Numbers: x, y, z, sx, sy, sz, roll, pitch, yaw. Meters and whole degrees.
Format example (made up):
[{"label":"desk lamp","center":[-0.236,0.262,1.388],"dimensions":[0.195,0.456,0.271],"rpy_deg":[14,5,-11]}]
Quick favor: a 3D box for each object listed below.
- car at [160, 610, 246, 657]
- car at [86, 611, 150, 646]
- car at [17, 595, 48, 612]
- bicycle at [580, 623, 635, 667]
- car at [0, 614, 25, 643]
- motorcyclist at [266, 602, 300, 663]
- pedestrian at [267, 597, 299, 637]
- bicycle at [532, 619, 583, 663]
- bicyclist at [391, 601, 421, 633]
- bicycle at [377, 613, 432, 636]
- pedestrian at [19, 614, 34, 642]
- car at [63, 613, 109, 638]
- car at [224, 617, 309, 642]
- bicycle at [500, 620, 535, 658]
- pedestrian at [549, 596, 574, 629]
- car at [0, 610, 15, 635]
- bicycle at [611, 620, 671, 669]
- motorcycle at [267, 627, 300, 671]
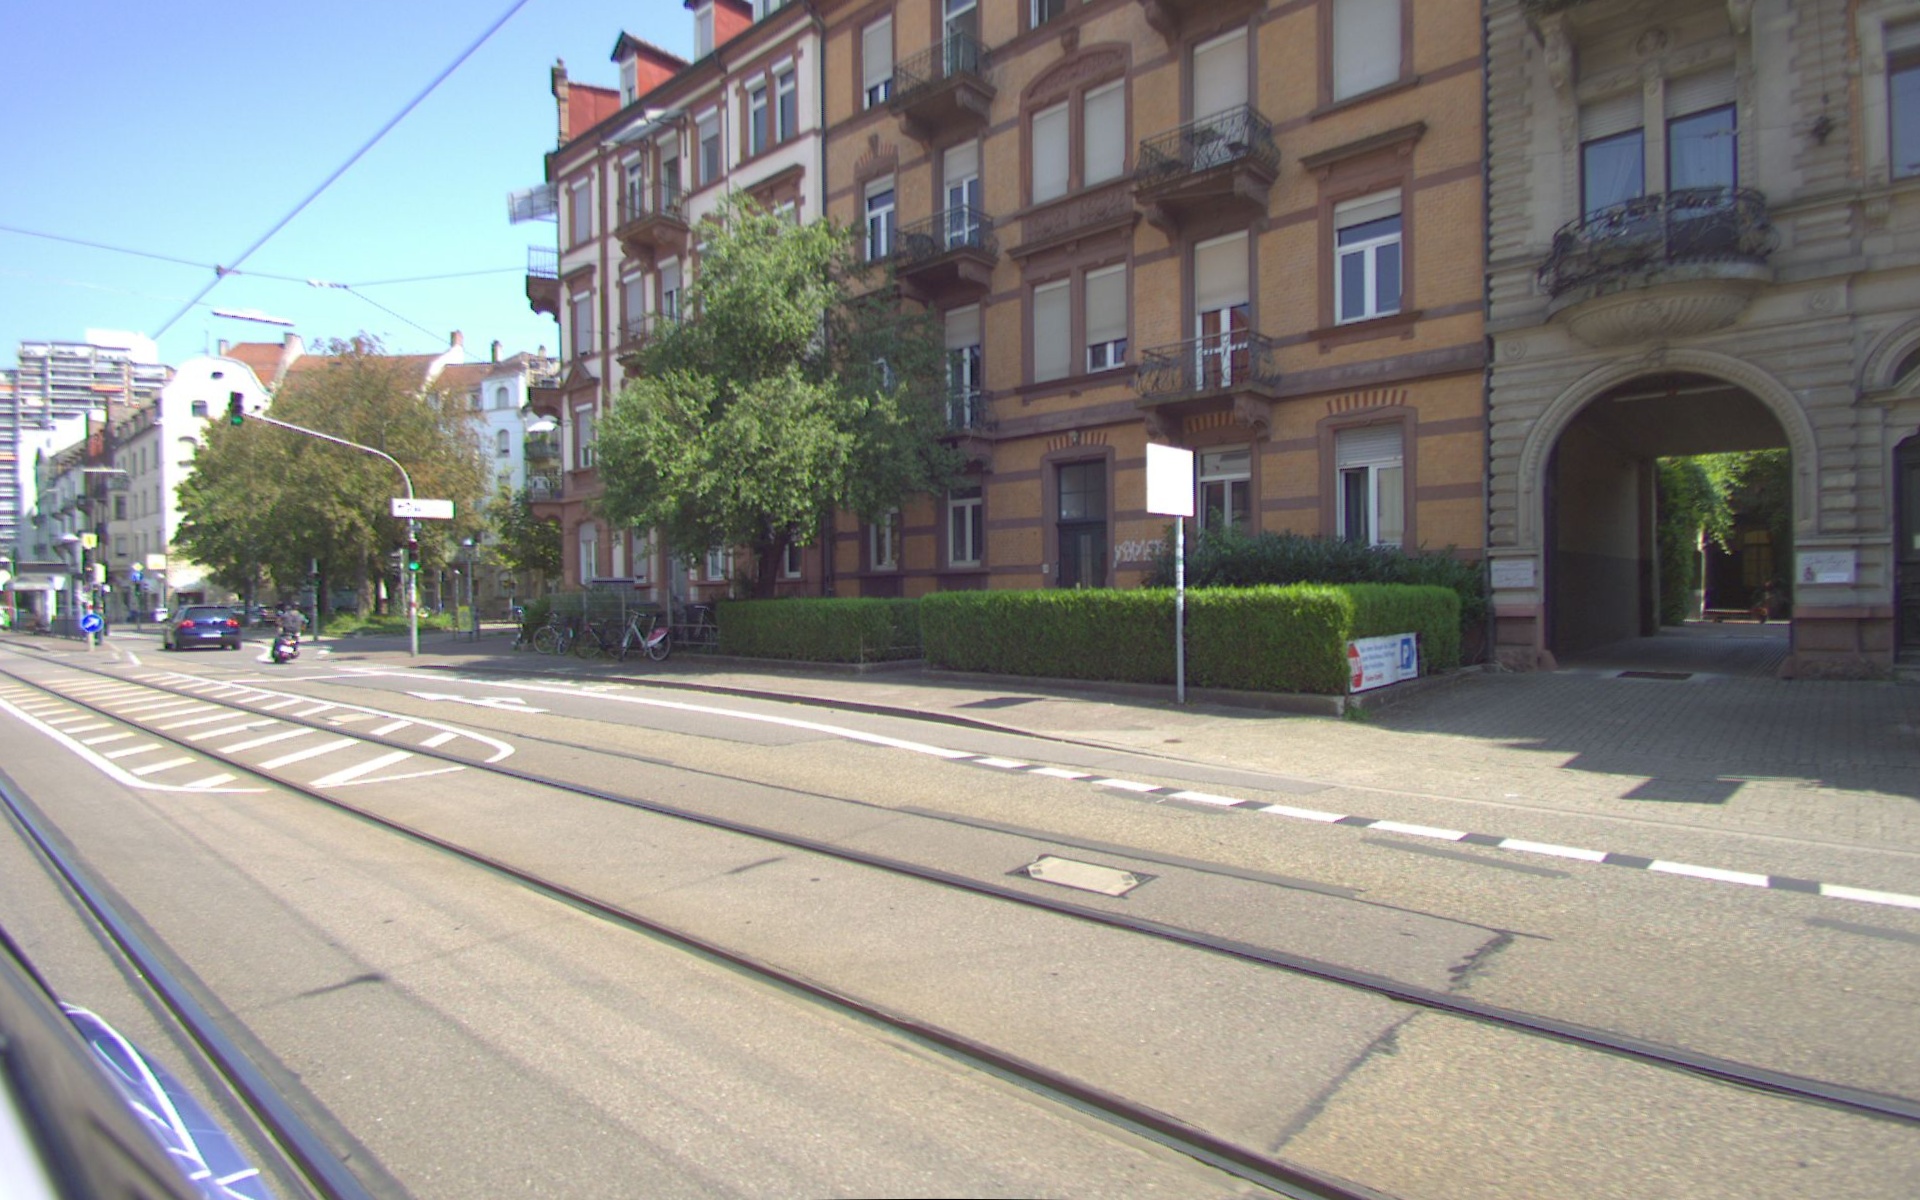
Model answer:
[{"label":"car","center":[-24.874,1.056,33.185],"dimensions":[1.707,1.444,4.179],"rpy_deg":[0,0,-45]},{"label":"car","center":[-42.156,1.389,50.641],"dimensions":[4.632,1.660,1.971],"rpy_deg":[-1,-1,44]},{"label":"car","center":[-95.404,0.364,104.134],"dimensions":[4.630,1.739,1.972],"rpy_deg":[-1,-1,43]},{"label":"bicycle","center":[-7.907,0.991,22.649],"dimensions":[0.482,0.949,1.658],"rpy_deg":[-1,0,-45]},{"label":"car","center":[-58.939,1.739,62.089],"dimensions":[4.631,1.739,1.972],"rpy_deg":[-1,-1,43]},{"label":"motorcyclist","center":[-17.350,0.819,25.934],"dimensions":[0.680,1.523,0.775],"rpy_deg":[-1,0,-35]},{"label":"pedestrian","center":[-34.714,0.866,51.886],"dimensions":[1.036,2.028,1.080],"rpy_deg":[-1,1,42]},{"label":"bicycle","center":[-9.874,0.999,24.777],"dimensions":[0.482,1.029,1.779],"rpy_deg":[-1,0,-45]},{"label":"bicyclist","center":[-36.070,1.093,65.903],"dimensions":[1.203,2.029,1.201],"rpy_deg":[0,0,21]},{"label":"bicycle","center":[-36.194,1.577,65.922],"dimensions":[3.460,1.447,1.214],"rpy_deg":[-1,0,21]},{"label":"pedestrian","center":[-43.467,1.308,47.111],"dimensions":[0.648,1.260,0.473],"rpy_deg":[-2,-1,43]},{"label":"car","center":[-62.841,1.829,72.724],"dimensions":[4.630,1.739,1.972],"rpy_deg":[-1,-1,43]},{"label":"car","center":[-48.697,2.061,71.135],"dimensions":[4.561,1.739,2.002],"rpy_deg":[0,-1,-4]},{"label":"bicycle","center":[-12.297,1.072,28.177],"dimensions":[0.481,1.005,1.834],"rpy_deg":[-1,0,-11]},{"label":"pedestrian","center":[-24.718,0.770,62.783],"dimensions":[1.021,2.028,1.096],"rpy_deg":[-2,1,-43]},{"label":"car","center":[-68.292,1.596,71.467],"dimensions":[4.630,1.739,1.972],"rpy_deg":[-1,-1,43]},{"label":"bicycle","center":[-6.745,0.928,21.374],"dimensions":[0.482,0.994,1.658],"rpy_deg":[-1,0,-45]},{"label":"motorcycle","center":[-17.396,1.239,26.006],"dimensions":[0.682,1.039,2.163],"rpy_deg":[-1,0,-34]}]
